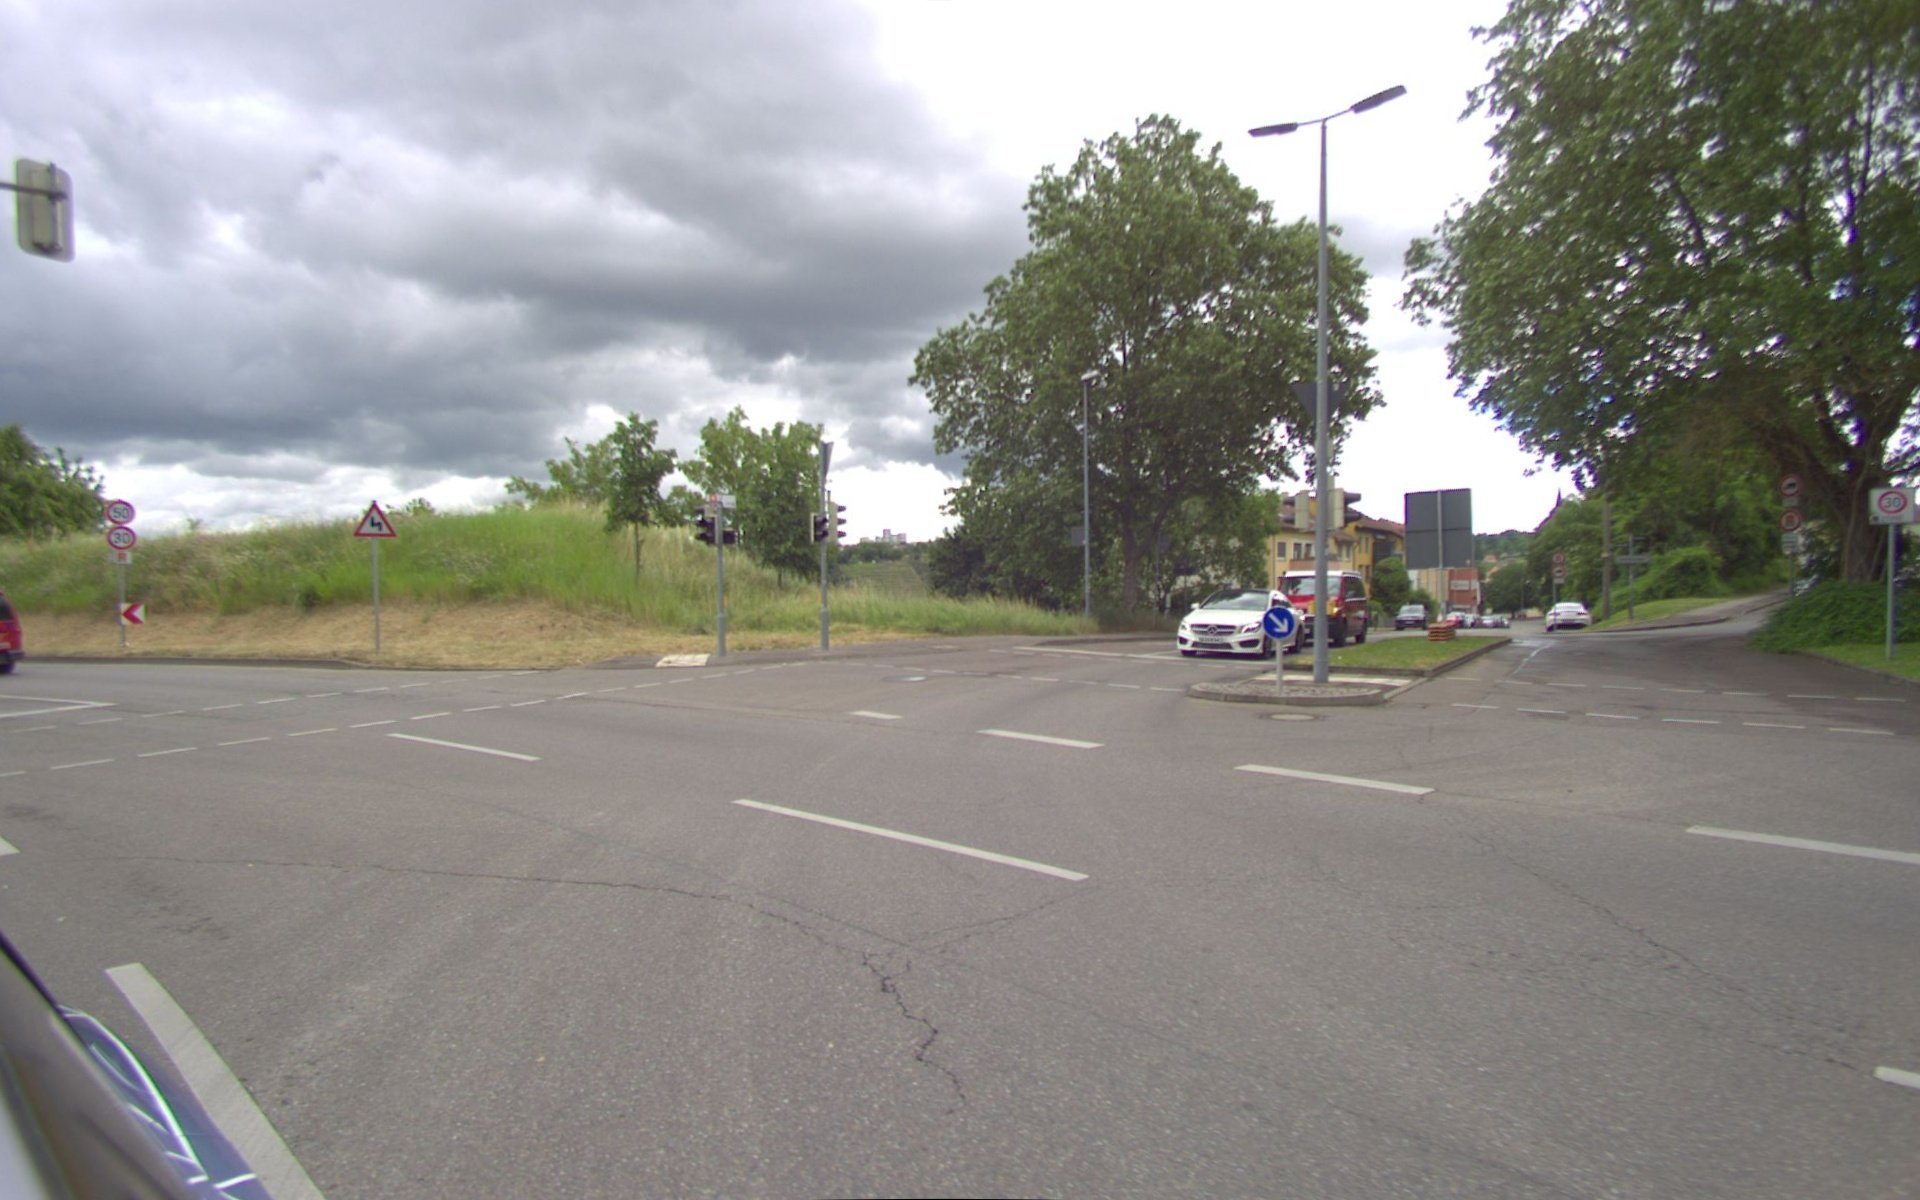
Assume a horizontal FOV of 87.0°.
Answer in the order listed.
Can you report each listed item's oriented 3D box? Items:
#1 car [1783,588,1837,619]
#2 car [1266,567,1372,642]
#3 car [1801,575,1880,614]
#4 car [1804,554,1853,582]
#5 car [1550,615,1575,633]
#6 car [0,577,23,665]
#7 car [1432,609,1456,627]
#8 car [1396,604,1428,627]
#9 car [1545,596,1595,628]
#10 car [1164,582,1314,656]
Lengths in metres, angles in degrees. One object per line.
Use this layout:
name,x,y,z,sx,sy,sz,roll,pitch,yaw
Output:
car,46.699,0.184,55.555,3.939,1.519,1.718,-2,1,-42
car,9.585,0.069,26.857,1.849,1.827,3.996,-1,1,32
car,37.316,-0.240,42.858,3.937,1.519,1.869,-2,1,-39
car,52.373,-1.925,60.989,3.939,1.552,1.718,-4,2,-42
car,49.588,1.958,83.319,1.690,1.320,3.957,-1,1,32
car,-22.319,0.477,21.617,4.698,1.839,1.680,-1,1,25
car,41.318,1.552,86.437,1.661,1.364,3.705,0,1,22
car,29.308,0.987,65.544,1.664,1.364,3.698,0,1,28
car,29.978,0.608,49.686,1.865,1.501,3.953,-1,-1,35
car,6.088,0.325,21.720,1.993,1.349,4.373,1,2,31
